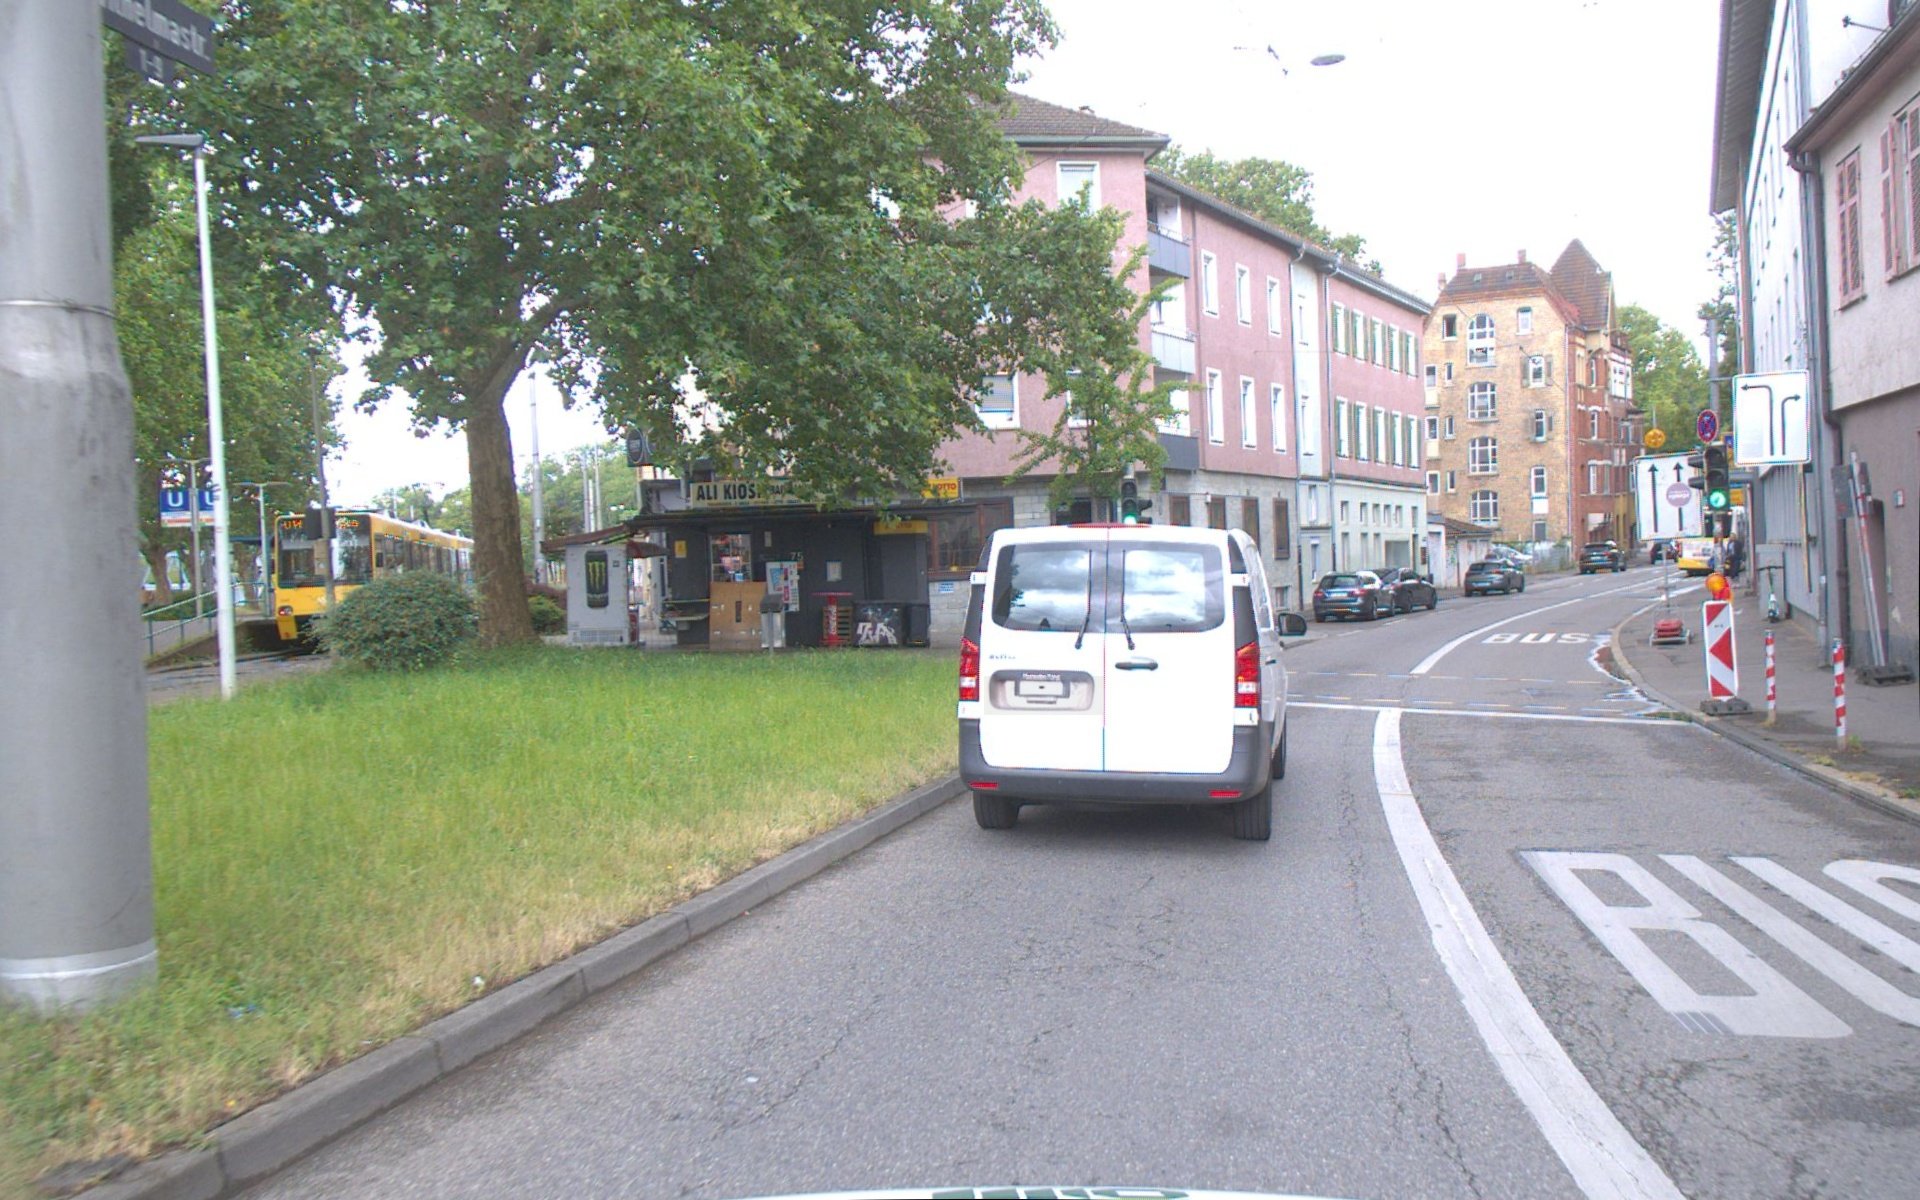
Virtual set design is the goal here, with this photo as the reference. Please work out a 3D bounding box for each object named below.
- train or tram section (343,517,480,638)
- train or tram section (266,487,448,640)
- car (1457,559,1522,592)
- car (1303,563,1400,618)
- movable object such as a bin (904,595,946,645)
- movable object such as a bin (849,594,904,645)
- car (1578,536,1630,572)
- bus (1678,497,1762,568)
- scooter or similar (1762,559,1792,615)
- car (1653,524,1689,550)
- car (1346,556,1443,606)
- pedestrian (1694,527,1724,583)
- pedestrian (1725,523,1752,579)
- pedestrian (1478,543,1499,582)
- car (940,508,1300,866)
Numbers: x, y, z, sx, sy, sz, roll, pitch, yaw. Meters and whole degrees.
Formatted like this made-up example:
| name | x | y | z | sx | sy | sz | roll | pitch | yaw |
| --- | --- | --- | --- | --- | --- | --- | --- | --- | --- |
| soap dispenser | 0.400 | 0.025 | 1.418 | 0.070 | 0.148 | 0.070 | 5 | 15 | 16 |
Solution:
| name | x | y | z | sx | sy | sz | roll | pitch | yaw |
| --- | --- | --- | --- | --- | --- | --- | --- | --- | --- |
| train or tram section | -18.668 | -0.618 | 57.007 | 2.862 | 3.736 | 10.977 | 1 | -1 | -10 |
| train or tram section | -16.539 | -0.806 | 46.242 | 2.862 | 3.736 | 10.977 | 1 | -1 | -10 |
| car | 21.994 | -1.008 | 68.648 | 1.955 | 1.312 | 3.995 | 0 | 1 | 27 |
| car | 11.724 | -0.321 | 49.343 | 1.793 | 1.480 | 4.580 | -2 | 0 | 26 |
| movable object such as a bin | -0.733 | 0.410 | 34.599 | 0.659 | 0.981 | 1.076 | 1 | 2 | -13 |
| movable object such as a bin | -1.750 | 0.399 | 34.456 | 0.948 | 0.981 | 1.109 | 1 | 2 | -13 |
| car | 35.877 | -2.573 | 92.020 | 1.918 | 1.763 | 4.765 | -2 | 2 | 30 |
| bus | 36.471 | -3.265 | 79.208 | 2.614 | 3.190 | 10.020 | 0 | 2 | 31 |
| scooter or similar | 17.340 | -0.287 | 35.118 | 0.420 | 1.116 | 1.439 | -4 | 1 | 24 |
| car | 49.431 | -4.399 | 114.963 | 1.693 | 1.511 | 4.381 | -1 | 4 | 32 |
| car | 14.382 | -0.657 | 54.541 | 1.795 | 1.480 | 4.911 | -2 | 0 | 31 |
| pedestrian | 25.855 | -1.556 | 57.096 | 0.787 | 1.824 | 0.942 | -5 | 1 | 25 |
| pedestrian | 26.240 | -1.652 | 55.748 | 0.673 | 1.787 | 0.878 | -5 | 1 | 25 |
| pedestrian | 24.306 | -1.732 | 76.071 | 0.746 | 1.774 | 0.983 | 0 | 1 | 28 |
| car | 1.334 | 0.435 | 11.437 | 1.876 | 1.934 | 4.706 | 0 | 1 | 13 |
